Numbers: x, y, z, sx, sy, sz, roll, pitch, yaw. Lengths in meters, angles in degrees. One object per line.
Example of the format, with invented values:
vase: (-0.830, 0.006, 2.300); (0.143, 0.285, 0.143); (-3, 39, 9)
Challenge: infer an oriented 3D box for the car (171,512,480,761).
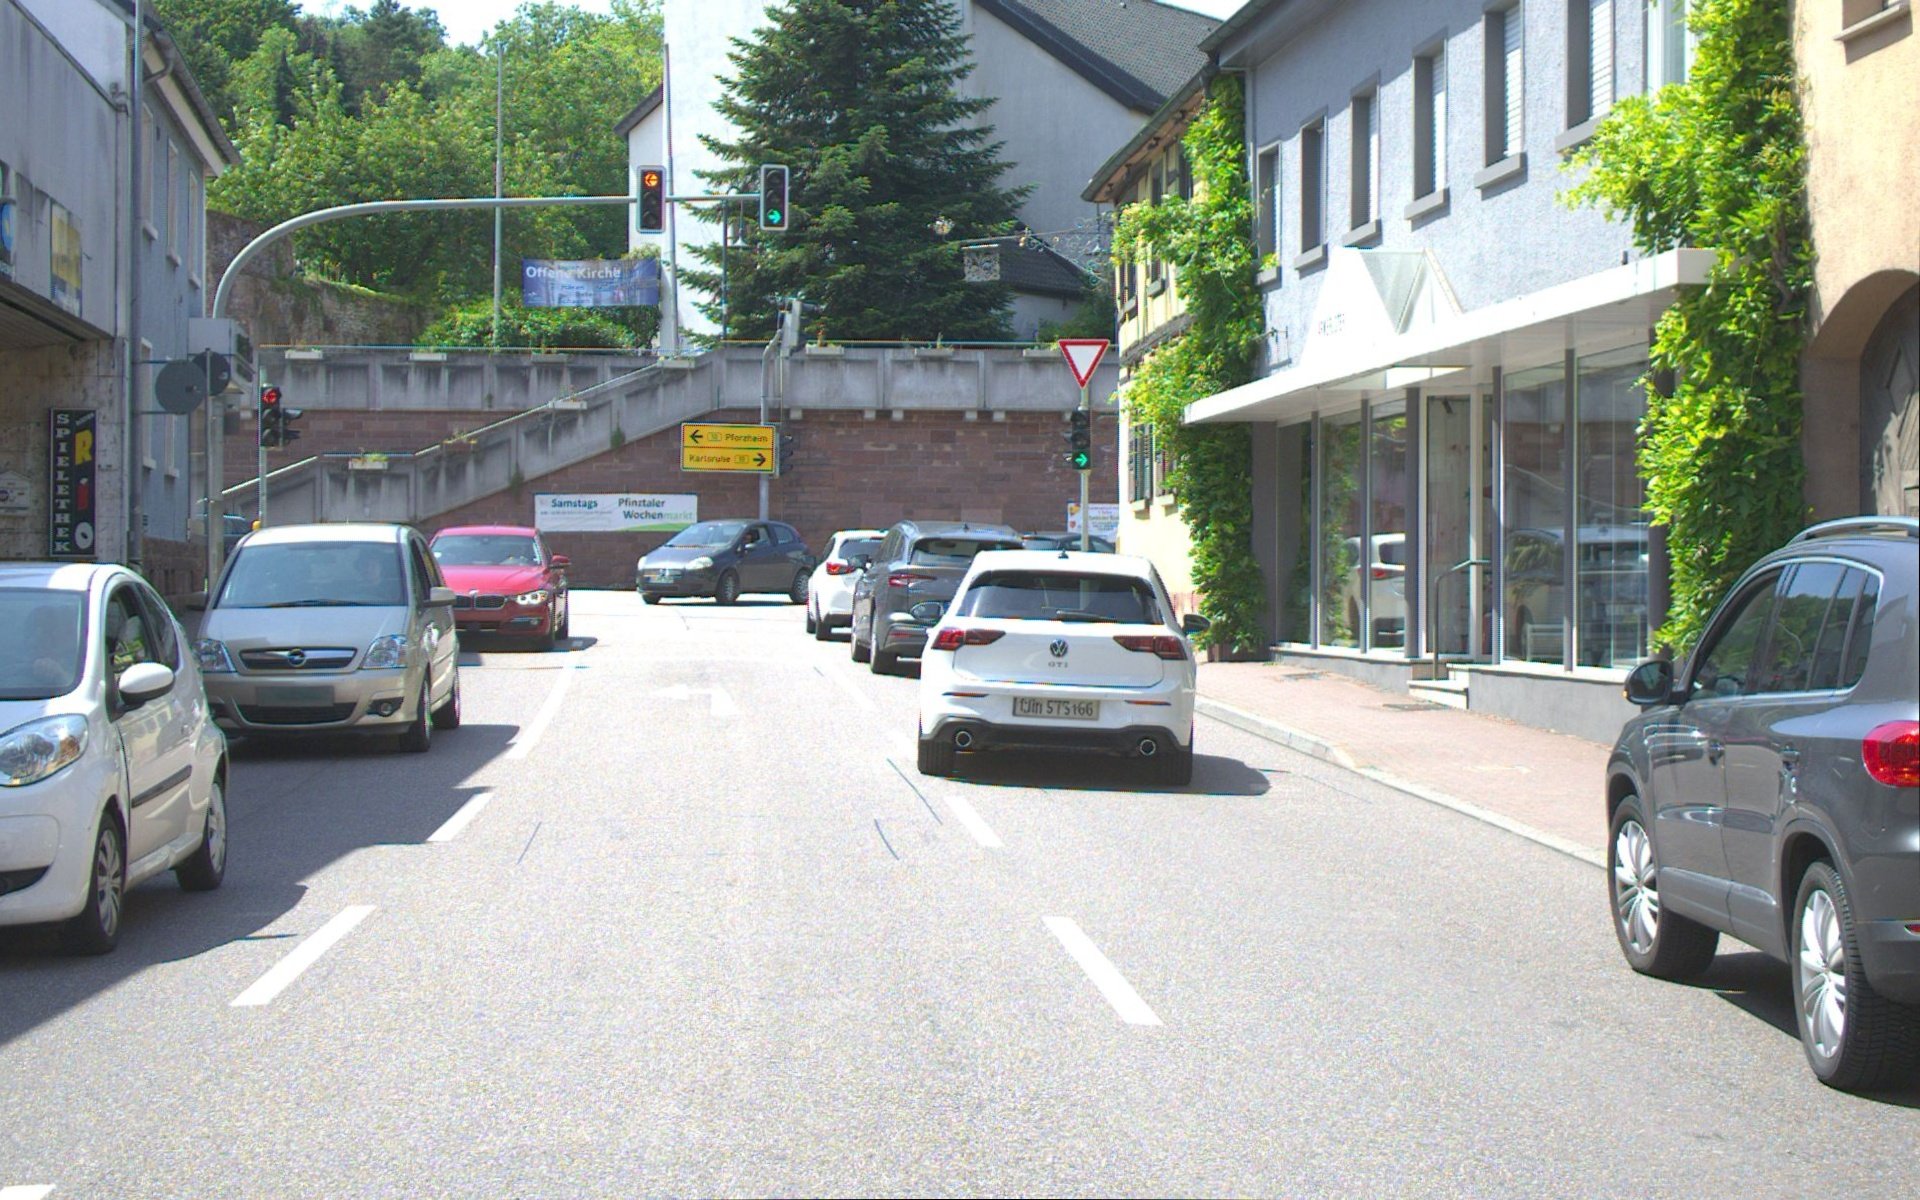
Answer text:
car: (-4.543, 0.198, 25.094); (1.679, 1.611, 3.822); (-1, 2, -3)

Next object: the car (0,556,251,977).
car: (-3.941, 0.574, 13.674); (1.596, 1.450, 3.447); (-1, 1, -2)

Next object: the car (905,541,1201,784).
car: (0.615, 0.351, 22.892); (1.783, 1.453, 3.863); (1, 1, 1)

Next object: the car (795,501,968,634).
car: (-1.116, -0.480, 46.482); (1.949, 1.577, 4.327); (1, 3, -6)

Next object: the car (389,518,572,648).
car: (-5.722, -0.248, 41.451); (1.717, 1.404, 4.285); (-2, 2, -2)

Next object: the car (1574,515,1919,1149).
car: (3.429, 0.569, 11.303); (1.993, 1.703, 4.101); (-1, 1, -1)

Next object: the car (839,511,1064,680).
car: (-0.161, -0.093, 37.135); (1.949, 1.577, 4.327); (1, 3, -6)

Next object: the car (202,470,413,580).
car: (-13.300, -1.520, 70.262); (3.986, 2.007, 2.000); (3, 0, -6)

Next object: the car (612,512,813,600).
car: (-4.267, -0.795, 59.750); (1.720, 1.418, 3.815); (1, 2, 28)
